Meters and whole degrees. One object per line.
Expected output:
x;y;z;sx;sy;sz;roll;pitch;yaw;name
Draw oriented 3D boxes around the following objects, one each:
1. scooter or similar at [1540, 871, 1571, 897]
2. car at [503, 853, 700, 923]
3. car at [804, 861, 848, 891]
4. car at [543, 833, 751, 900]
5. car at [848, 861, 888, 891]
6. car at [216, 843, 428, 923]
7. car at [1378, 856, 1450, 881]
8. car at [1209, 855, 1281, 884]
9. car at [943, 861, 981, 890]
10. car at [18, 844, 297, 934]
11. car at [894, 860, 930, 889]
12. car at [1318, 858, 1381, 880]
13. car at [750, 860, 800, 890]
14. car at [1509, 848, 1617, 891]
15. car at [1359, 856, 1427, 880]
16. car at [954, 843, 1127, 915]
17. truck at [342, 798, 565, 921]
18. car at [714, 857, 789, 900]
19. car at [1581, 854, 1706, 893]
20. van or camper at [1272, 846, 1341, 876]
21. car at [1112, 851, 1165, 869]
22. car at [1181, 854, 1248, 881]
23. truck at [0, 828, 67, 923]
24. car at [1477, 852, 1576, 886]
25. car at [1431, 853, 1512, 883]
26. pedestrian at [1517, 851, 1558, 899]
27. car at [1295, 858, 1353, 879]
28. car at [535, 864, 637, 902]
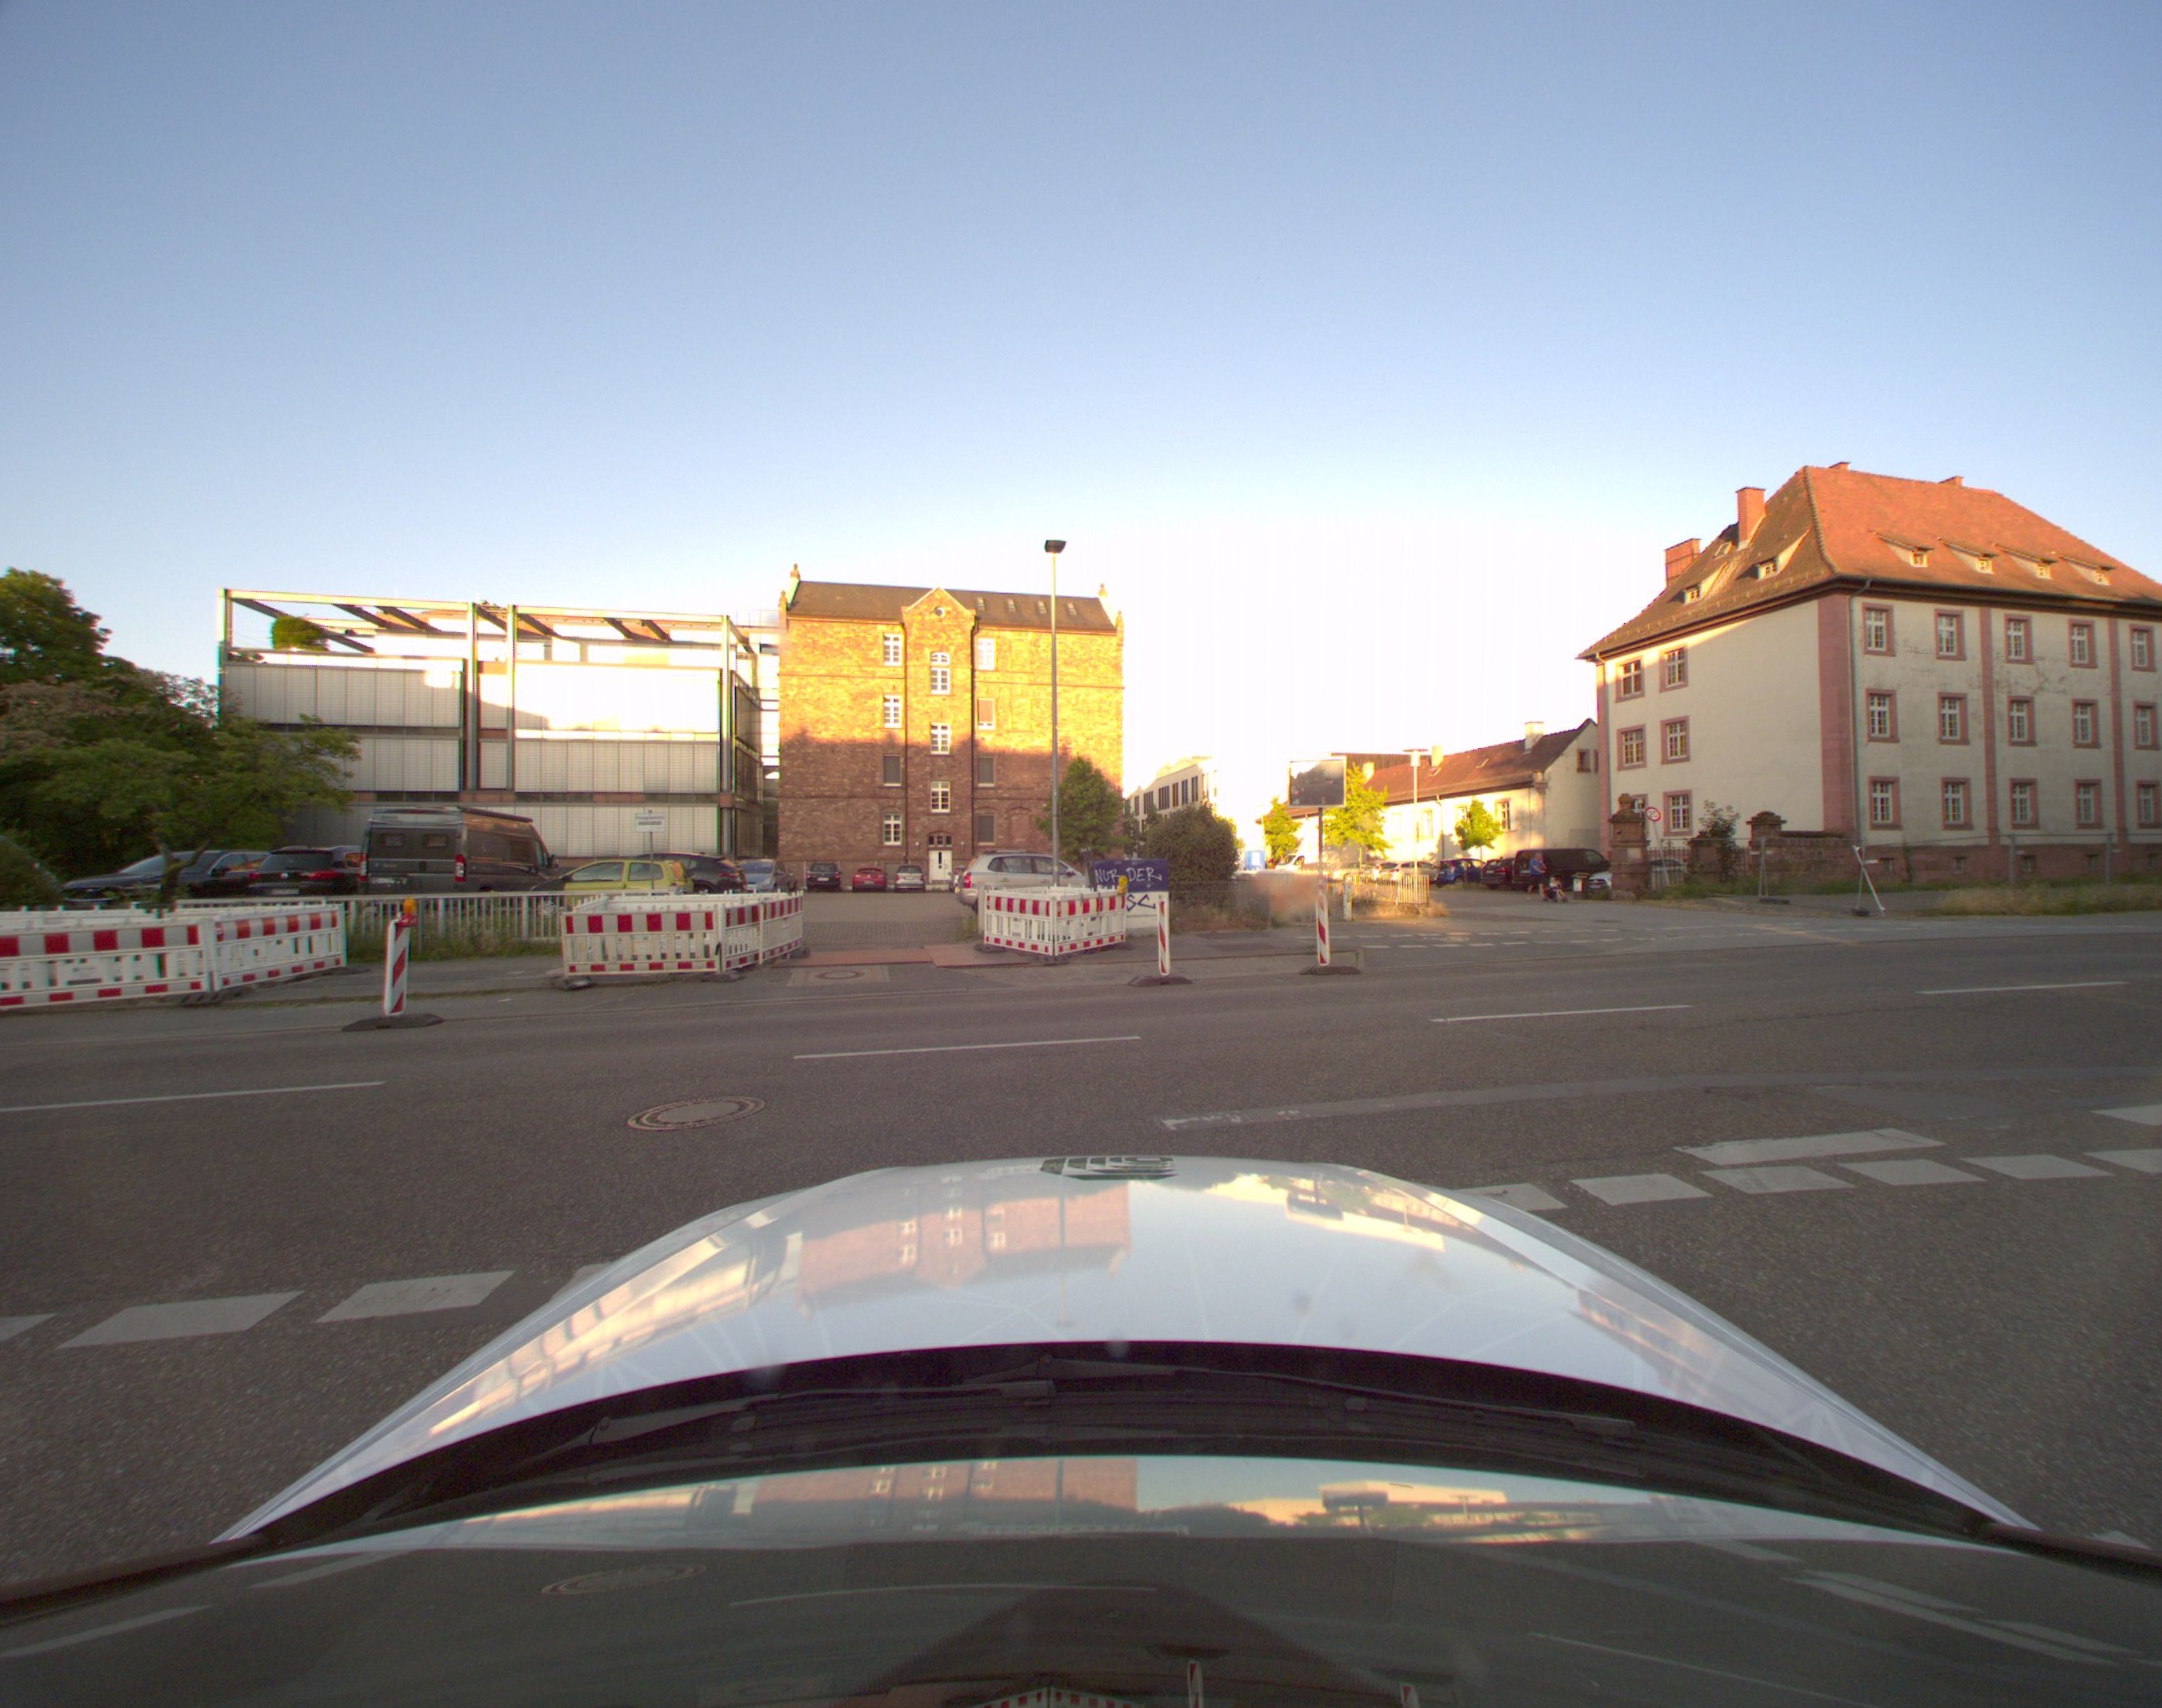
16.336;1.029;28.044;0.514;0.890;0.803;-1;-1;-11;scooter or similar
-11.190;0.763;19.243;3.632;1.504;1.631;-1;-1;-11;car
-14.032;1.159;44.993;1.897;1.537;4.162;-1;-1;-11;car
-11.383;0.314;21.666;4.584;1.638;1.569;-1;-1;-11;car
-11.740;1.184;45.051;1.897;1.537;4.162;-1;-1;-11;car
-17.880;0.639;19.492;1.996;1.692;3.981;-1;-1;-14;car
19.836;0.859;48.575;3.747;1.445;1.678;0;-1;-16;car
9.577;0.900;47.539;3.747;1.603;1.678;-1;-1;-16;car
-6.784;1.210;46.244;1.897;1.537;4.162;-1;-1;-11;car
-20.207;0.699;18.179;1.996;1.727;4.280;-1;-1;-14;car
-9.432;1.121;45.537;1.897;1.537;4.162;-1;-1;-11;car
18.098;1.015;54.974;3.747;1.445;1.678;0;-1;-16;car
-16.564;1.108;44.246;1.897;1.537;4.162;-1;-1;-11;car
21.859;0.685;36.988;3.994;1.859;1.989;0;-1;-16;car
19.596;0.871;51.195;3.747;1.445;1.678;0;-1;-16;car
-1.085;0.620;21.195;4.274;1.709;1.695;-1;-1;-13;car
-15.114;0.128;20.091;2.335;2.617;4.954;-1;-1;-11;truck
-13.120;0.925;32.702;1.995;1.576;4.347;-1;-1;-11;car
22.336;0.761;32.366;3.994;1.459;1.989;0;-1;-16;car
17.270;0.546;62.423;4.972;2.240;1.678;0;-1;-16;van or camper
4.682;0.505;66.872;3.991;1.313;1.869;-2;-1;-13;car
8.245;0.850;50.307;3.747;1.603;1.678;0;-1;-16;car
-24.797;0.477;16.940;2.104;2.091;4.499;-1;-1;-8;truck
21.717;0.732;39.737;3.994;1.573;1.989;0;-1;-16;car
21.061;0.767;43.987;3.747;1.529;1.678;0;-1;-16;car
16.265;0.743;29.036;0.750;1.642;1.010;-1;-1;-11;pedestrian
17.586;1.046;58.999;3.747;1.445;1.678;0;-1;-16;car
-18.809;1.069;31.172;1.940;1.306;4.347;-1;-1;-11;car
